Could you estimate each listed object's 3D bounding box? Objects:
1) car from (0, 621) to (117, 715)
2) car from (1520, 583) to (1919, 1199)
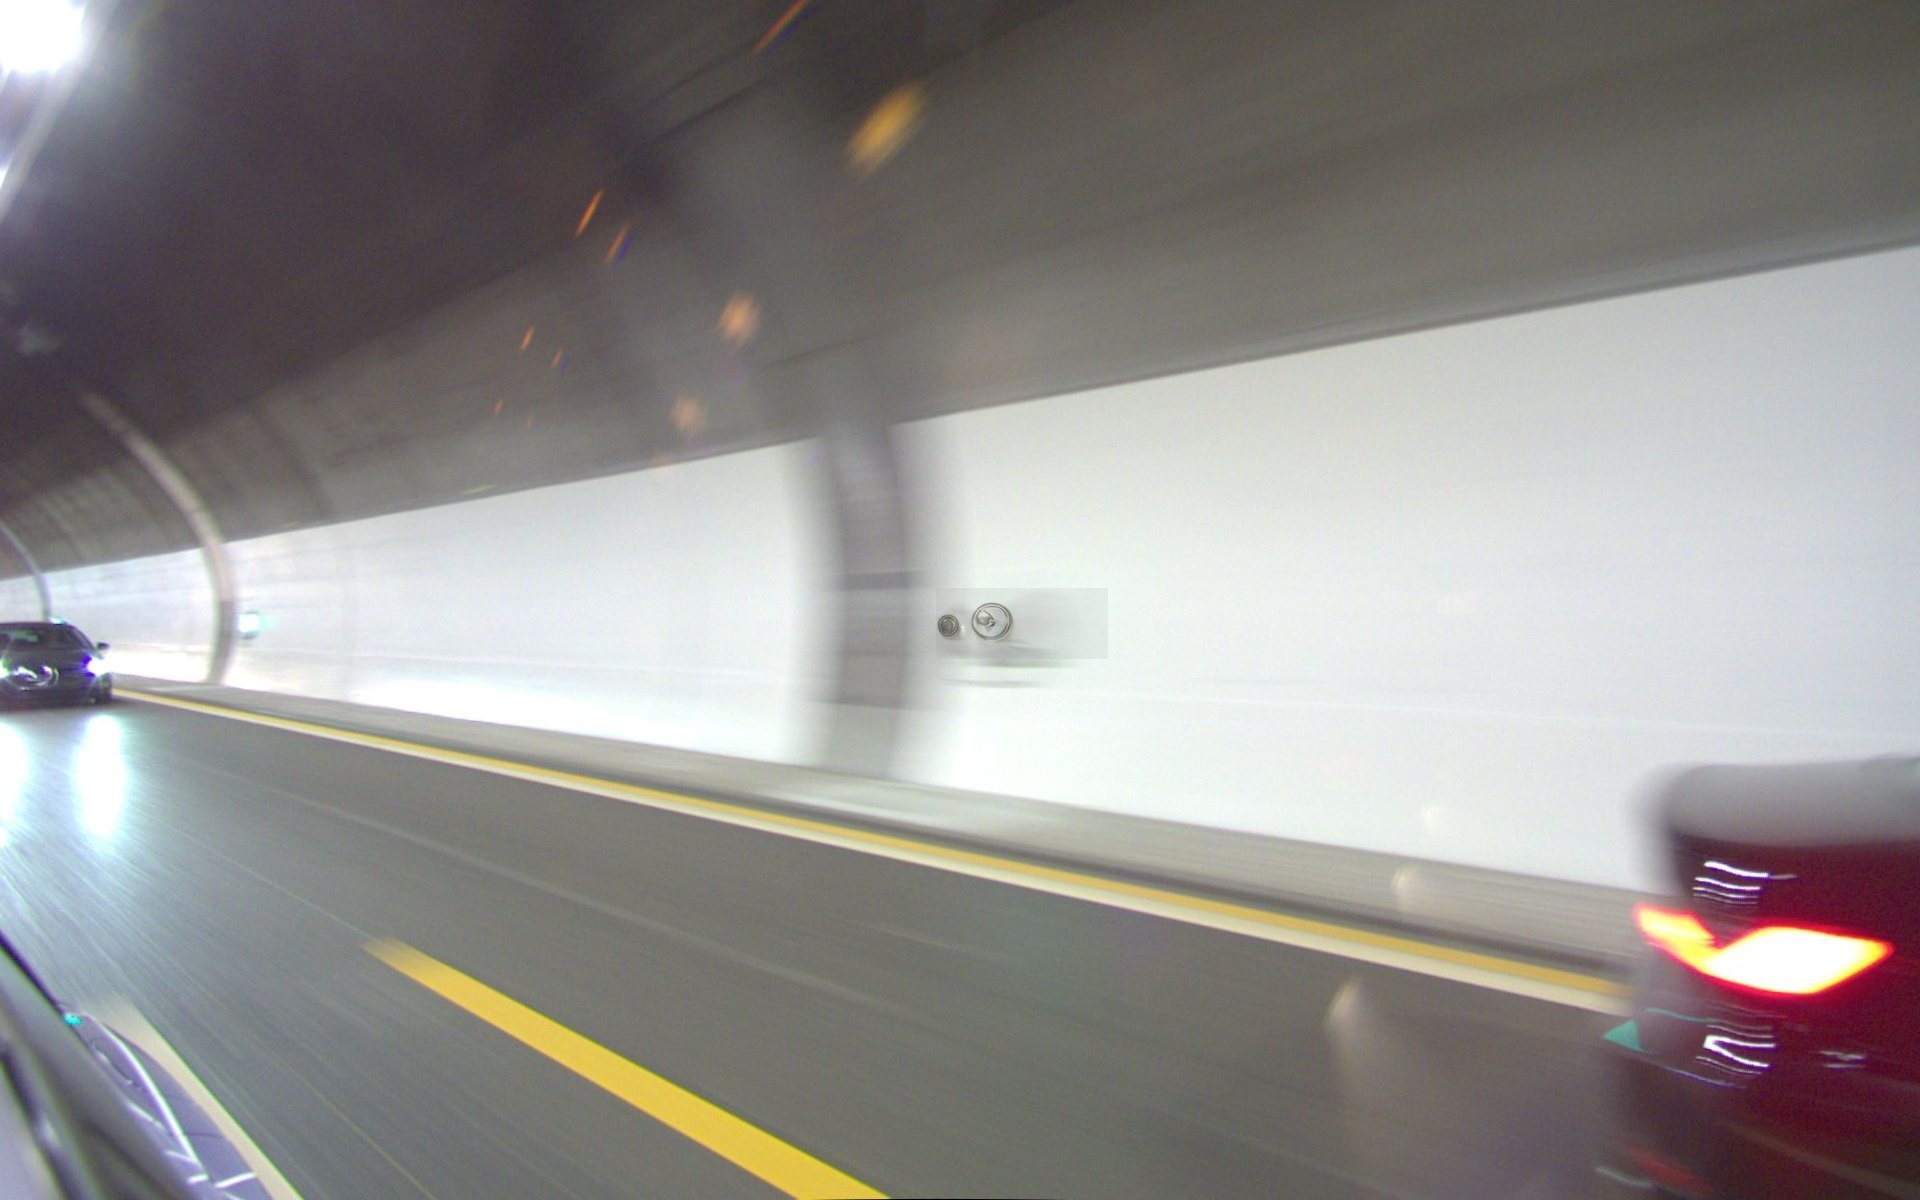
[{"bbox_3d":[-16.774,1.149,18.119,4.879,1.449,1.760,-2,-1,40],"label":"car"},{"bbox_3d":[3.344,0.652,0.741,4.879,1.449,1.760,-2,-1,40],"label":"car"}]
